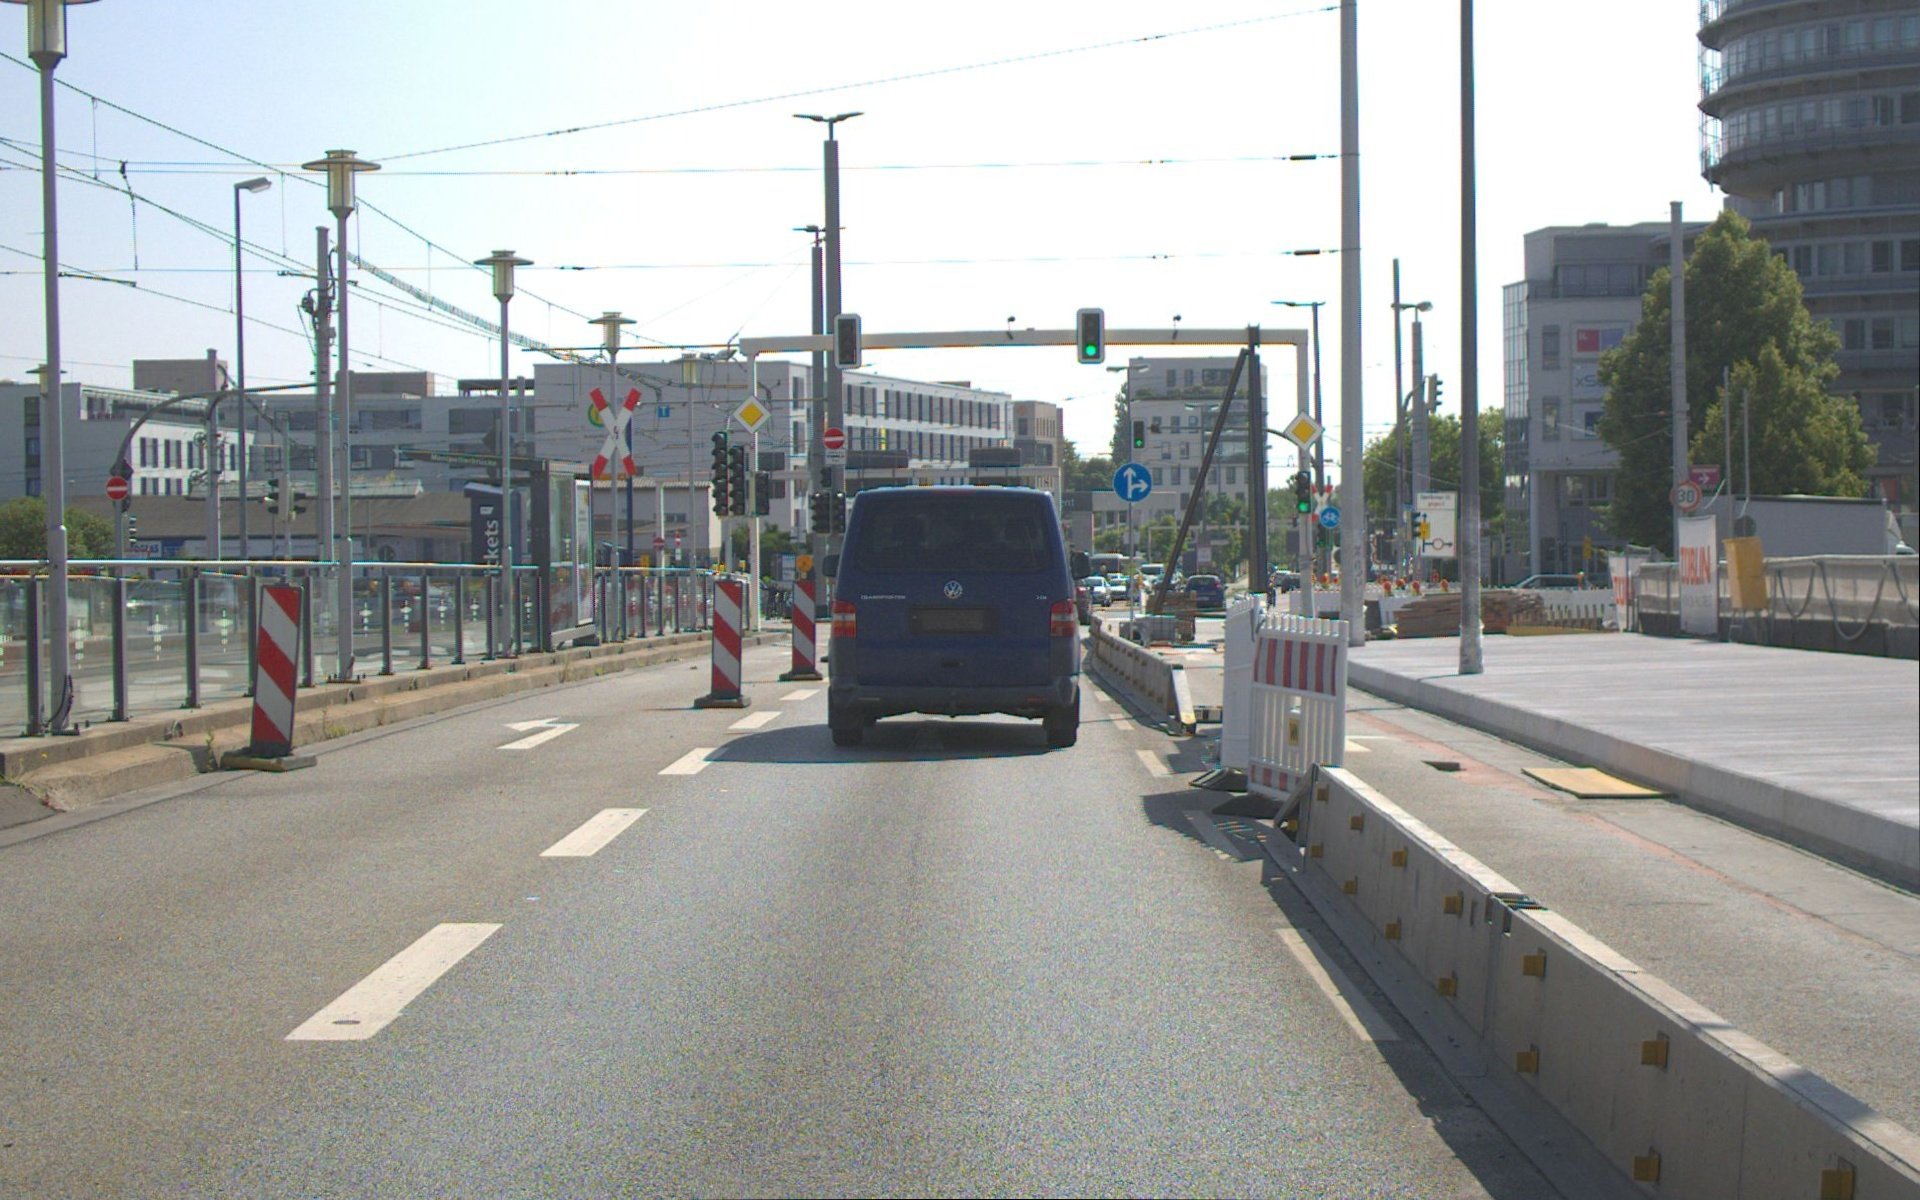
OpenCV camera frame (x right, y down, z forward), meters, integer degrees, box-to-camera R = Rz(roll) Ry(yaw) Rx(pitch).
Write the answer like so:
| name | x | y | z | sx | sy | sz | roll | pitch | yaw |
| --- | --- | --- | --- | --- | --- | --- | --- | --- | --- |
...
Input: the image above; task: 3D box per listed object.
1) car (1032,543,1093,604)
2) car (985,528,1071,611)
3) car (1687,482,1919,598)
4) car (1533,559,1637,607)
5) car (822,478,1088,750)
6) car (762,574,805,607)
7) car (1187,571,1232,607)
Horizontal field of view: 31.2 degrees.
| name | x | y | z | sx | sy | sz | roll | pitch | yaw |
| --- | --- | --- | --- | --- | --- | --- | --- | --- | --- |
| car | 3.069 | -0.801 | 102.464 | 1.645 | 1.722 | 3.717 | 1 | 1 | 4 |
| car | 1.501 | -0.687 | 74.441 | 1.645 | 1.722 | 4.000 | 1 | 1 | 4 |
| car | 21.951 | -1.543 | 88.302 | 5.949 | 2.877 | 2.347 | 0 | 2 | -17 |
| car | 24.549 | -0.686 | 135.113 | 3.813 | 1.791 | 1.681 | 1 | 2 | 2 |
| car | -0.024 | 0.046 | 26.895 | 1.888 | 1.927 | 4.000 | 1 | 2 | 0 |
| car | -8.082 | -0.437 | 157.342 | 1.747 | 1.481 | 4.000 | -1 | 1 | 0 |
| car | 10.169 | -0.465 | 140.348 | 1.744 | 1.470 | 3.884 | 0 | 1 | 3 |
